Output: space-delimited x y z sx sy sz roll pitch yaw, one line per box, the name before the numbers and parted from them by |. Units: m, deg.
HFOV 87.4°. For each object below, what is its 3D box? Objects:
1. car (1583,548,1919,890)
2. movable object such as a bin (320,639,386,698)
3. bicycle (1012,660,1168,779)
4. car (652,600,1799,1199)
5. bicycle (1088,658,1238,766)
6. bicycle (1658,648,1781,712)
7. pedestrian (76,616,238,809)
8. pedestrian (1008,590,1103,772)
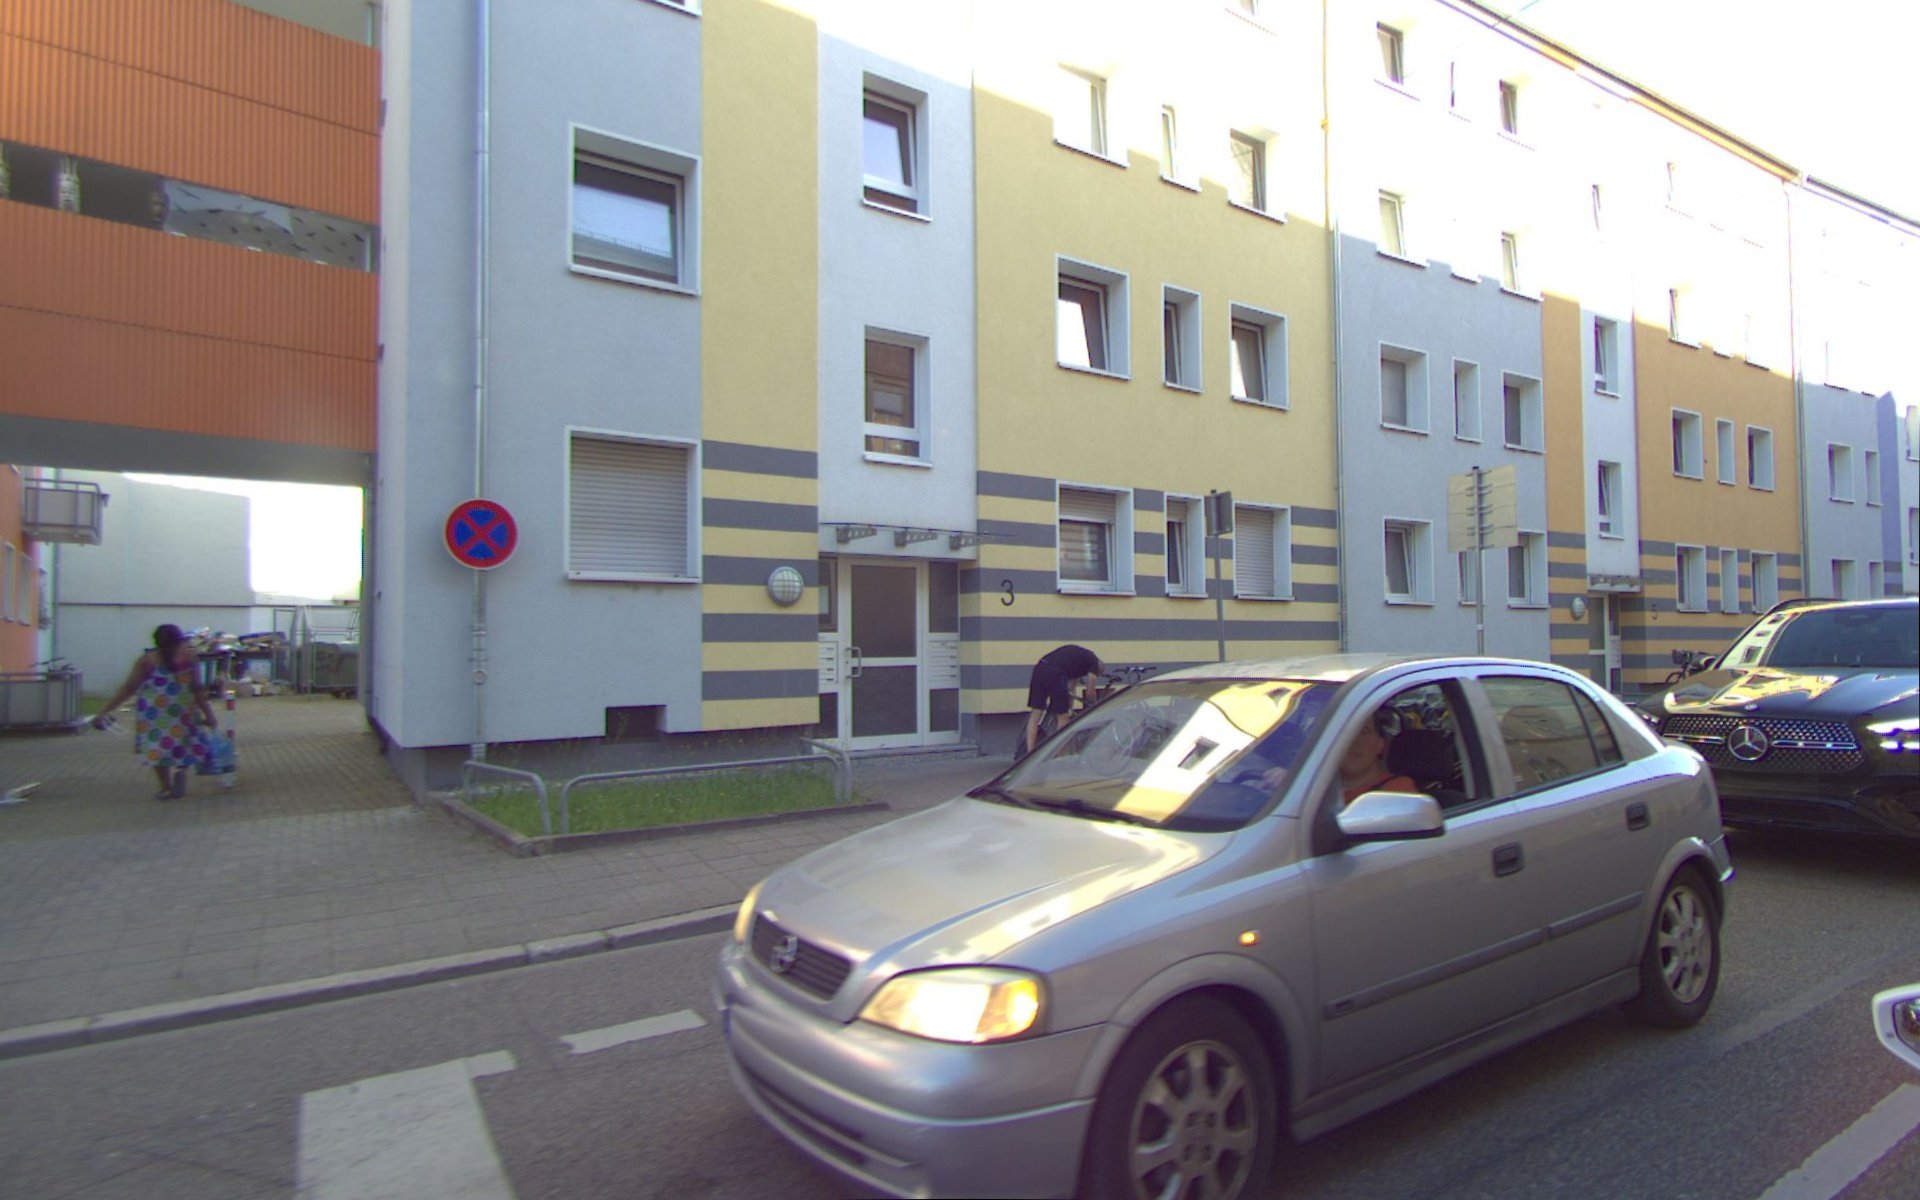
car | 6.993 0.751 7.461 5.037 1.858 1.891 1 -5 -31
movable object such as a bin | -15.912 1.767 26.319 1.367 1.490 1.192 1 -2 -37
bicycle | 1.367 1.240 10.866 0.645 1.160 1.739 1 -3 -37
car | 1.161 0.852 3.686 4.091 1.505 1.732 1 -5 -33
bicycle | 2.360 1.274 11.867 0.645 1.160 1.739 1 -3 -37
bicycle | 14.380 1.488 19.055 0.645 1.160 1.739 1 -3 -37
pedestrian | -7.191 0.960 9.064 1.070 1.593 1.004 1 -2 -37
pedestrian | 1.009 0.848 10.791 0.853 1.879 0.721 0 -2 -9
